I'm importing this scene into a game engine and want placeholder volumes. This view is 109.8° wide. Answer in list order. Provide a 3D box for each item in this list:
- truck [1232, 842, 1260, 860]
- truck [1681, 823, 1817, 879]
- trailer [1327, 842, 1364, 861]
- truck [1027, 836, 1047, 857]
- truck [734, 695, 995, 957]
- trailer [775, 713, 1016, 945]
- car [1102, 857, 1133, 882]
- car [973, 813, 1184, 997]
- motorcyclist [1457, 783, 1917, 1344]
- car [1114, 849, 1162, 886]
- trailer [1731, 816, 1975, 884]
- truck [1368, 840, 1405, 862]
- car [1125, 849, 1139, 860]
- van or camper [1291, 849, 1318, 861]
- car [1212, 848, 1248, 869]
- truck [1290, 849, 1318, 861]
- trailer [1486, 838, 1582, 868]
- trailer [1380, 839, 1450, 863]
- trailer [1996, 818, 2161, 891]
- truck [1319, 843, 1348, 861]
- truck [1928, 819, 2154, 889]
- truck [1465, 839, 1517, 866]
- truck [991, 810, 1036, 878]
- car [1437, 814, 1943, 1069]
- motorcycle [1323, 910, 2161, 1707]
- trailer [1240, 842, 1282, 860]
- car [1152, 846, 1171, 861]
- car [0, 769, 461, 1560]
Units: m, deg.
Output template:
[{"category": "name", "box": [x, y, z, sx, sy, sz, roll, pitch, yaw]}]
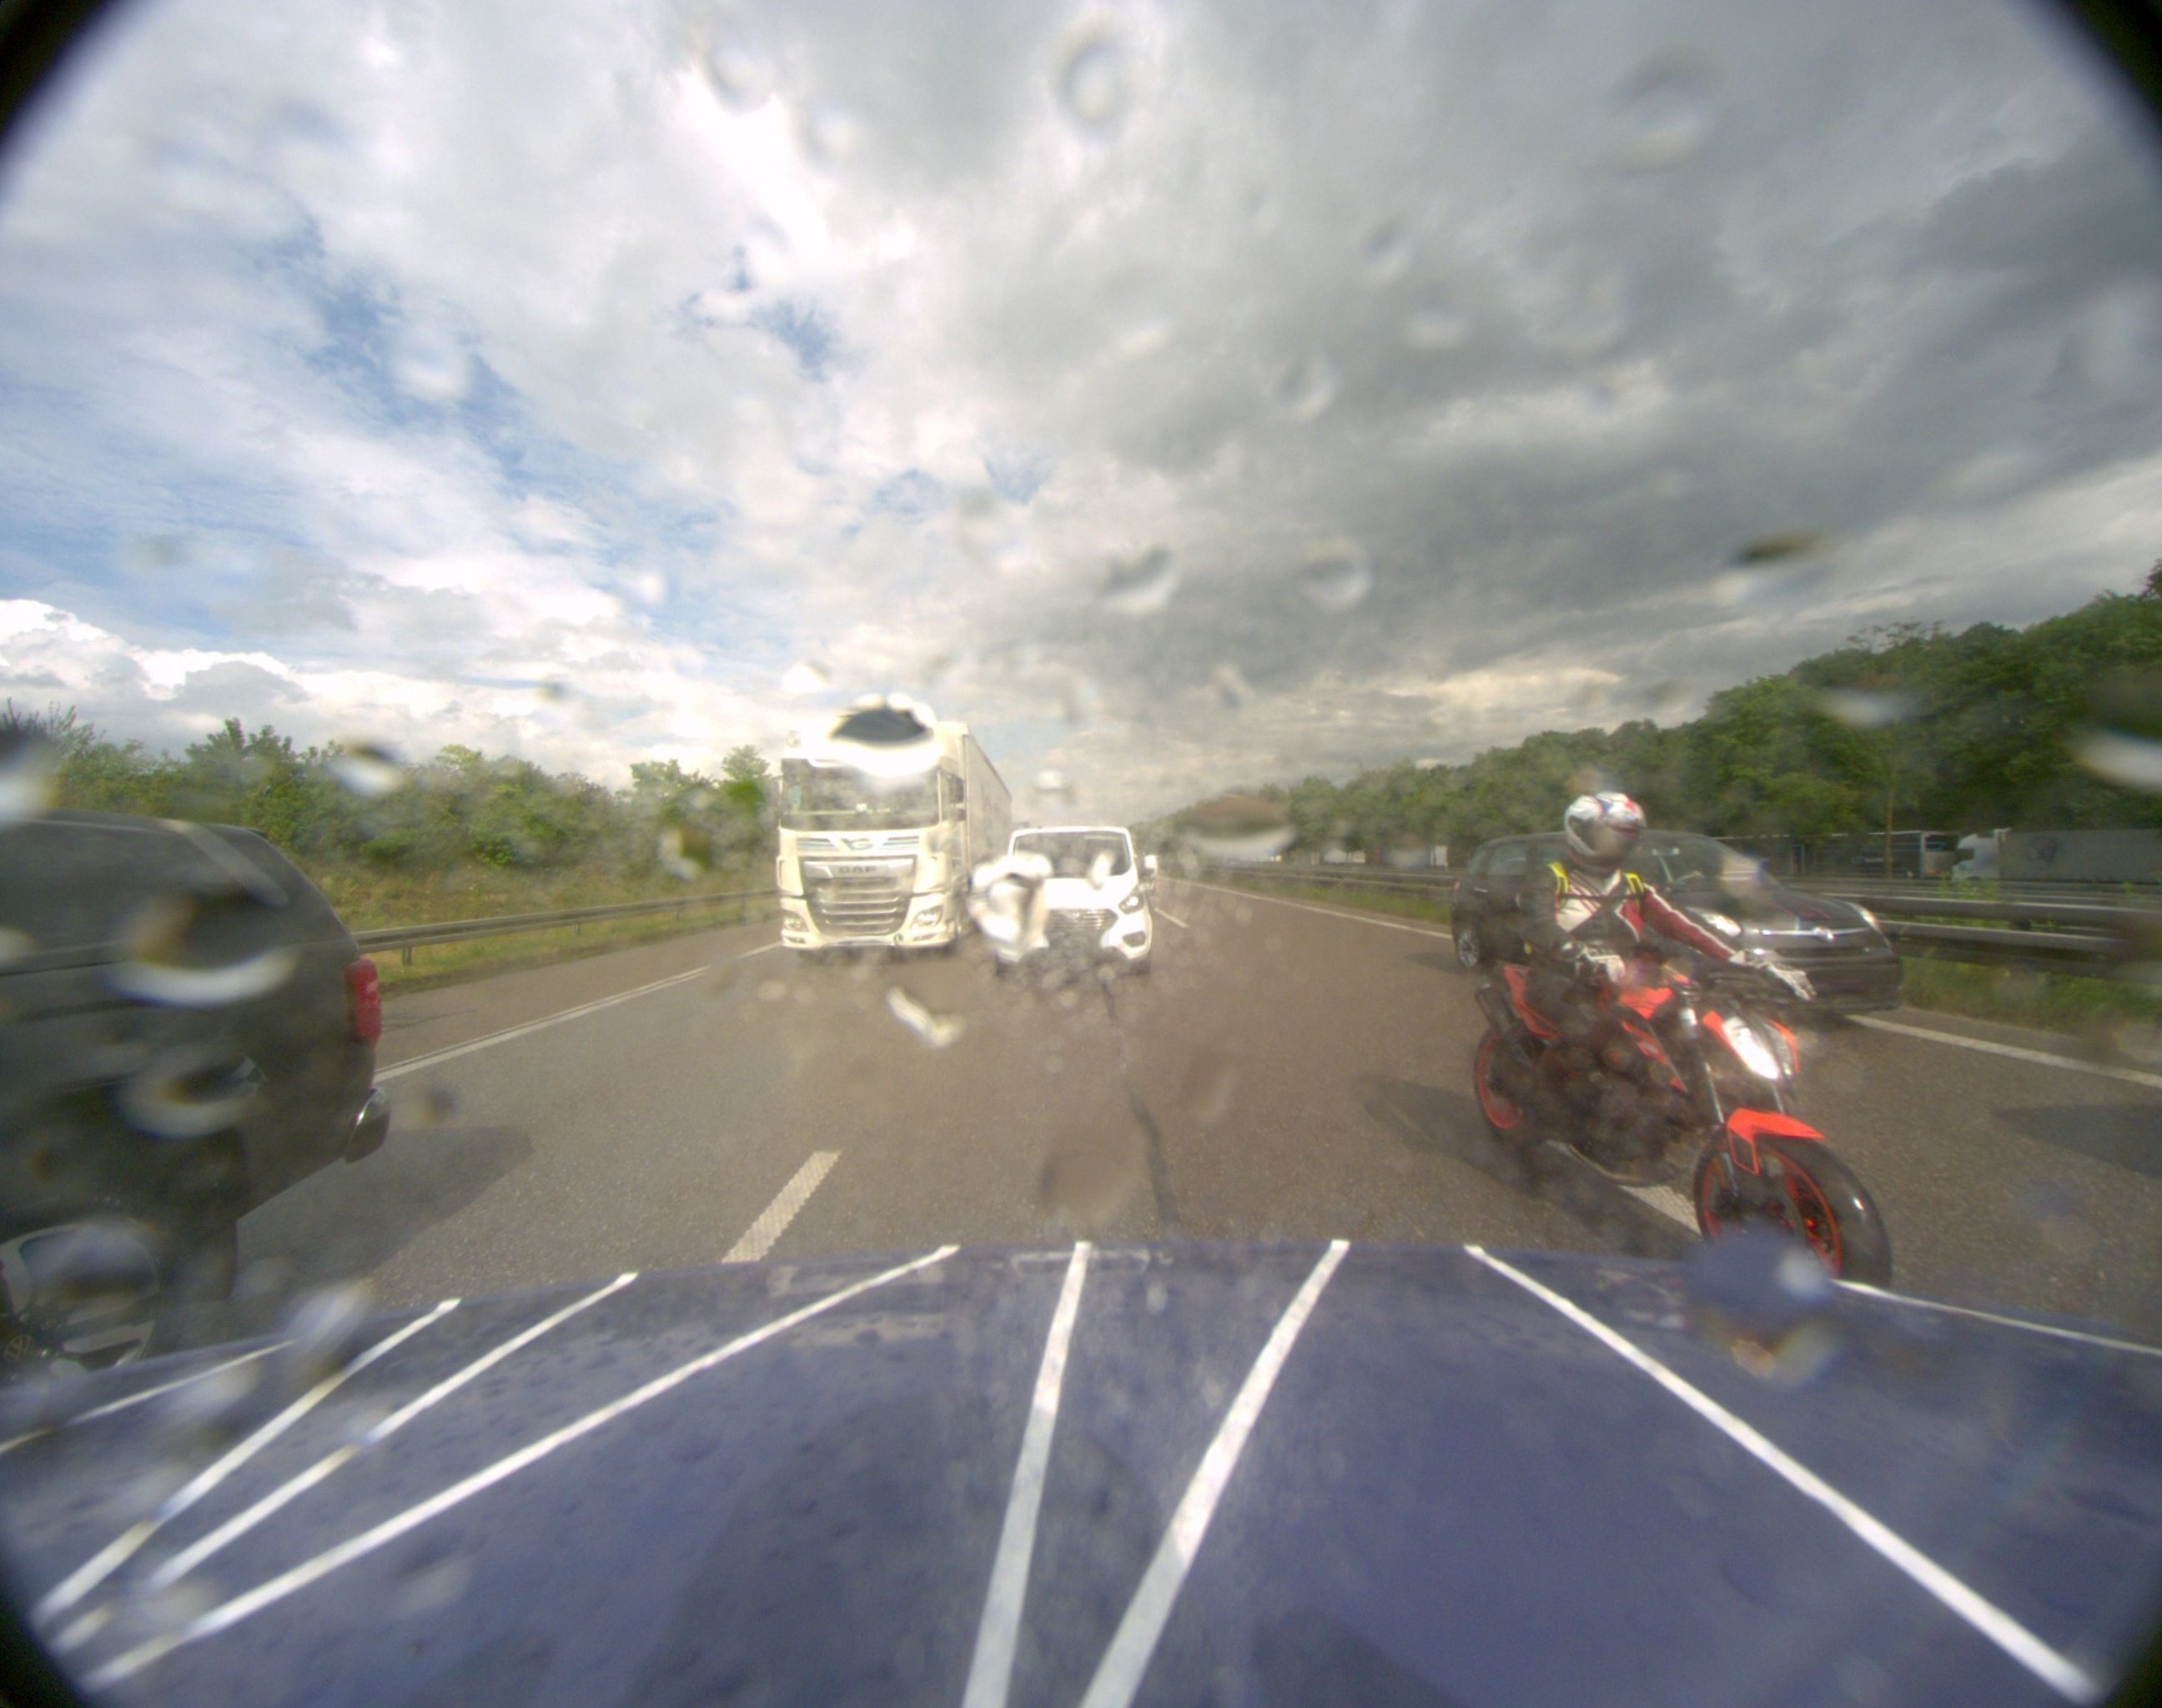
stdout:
[{"category": "truck", "box": [37.088, -0.676, 171.340, 3.219, 3.683, 6.907, -2, 1, -16]}, {"category": "truck", "box": [55.514, -0.270, 63.548, 3.798, 4.209, 8.415, -2, 1, -1]}, {"category": "trailer", "box": [46.741, -0.369, 134.445, 2.588, 3.214, 7.733, -1, 0, -11]}, {"category": "truck", "box": [-8.161, -1.405, 141.758, 3.218, 3.607, 10.151, -2, 1, -2]}, {"category": "truck", "box": [-3.643, -0.443, 14.786, 3.293, 3.868, 6.394, -2, 0, -2]}, {"category": "trailer", "box": [-3.795, -0.445, 20.183, 3.293, 3.876, 14.124, -2, 0, -2]}, {"category": "car", "box": [3.293, 1.374, 68.864, 2.350, 2.033, 5.141, -2, 1, -2]}, {"category": "car", "box": [-0.100, 0.558, 11.314, 2.350, 2.033, 5.141, -2, 1, -2]}, {"category": "motorcyclist", "box": [2.138, 0.640, 2.852, 0.883, 1.696, 1.000, -2, 1, -4]}, {"category": "car", "box": [3.448, 0.761, 46.890, 2.350, 2.033, 5.141, -2, 1, -2]}, {"category": "trailer", "box": [55.654, -0.264, 55.855, 3.798, 4.380, 13.799, -1, 0, 0]}, {"category": "truck", "box": [49.082, -0.482, 122.342, 2.870, 3.436, 5.892, -2, 1, -9]}, {"category": "car", "box": [9.732, 0.087, 146.108, 2.057, 2.034, 5.208, -2, 1, -2]}, {"category": "van or camper", "box": [43.778, 0.158, 148.842, 2.126, 2.252, 6.315, -2, 0, -15]}, {"category": "car", "box": [13.380, 0.398, 68.484, 2.057, 1.765, 5.208, -2, 1, -2]}, {"category": "truck", "box": [43.700, 0.104, 149.039, 2.126, 2.252, 6.310, -2, 0, -15]}, {"category": "trailer", "box": [53.382, -0.123, 90.160, 3.357, 3.197, 12.469, -1, 0, -4]}, {"category": "trailer", "box": [50.193, -0.370, 114.855, 2.832, 3.385, 13.415, -1, 0, -9]}, {"category": "trailer", "box": [55.239, 0.012, 37.601, 3.798, 3.627, 13.343, -1, 0, 0]}, {"category": "truck", "box": [45.901, -0.365, 138.159, 2.663, 3.249, 5.081, -2, 1, -12]}, {"category": "truck", "box": [55.191, -0.036, 44.100, 3.798, 3.569, 7.353, -2, 1, -1]}, {"category": "truck", "box": [52.848, -0.193, 97.998, 3.362, 3.254, 5.504, -2, 1, -5]}, {"category": "truck", "box": [-4.539, -0.655, 51.573, 2.651, 4.250, 6.881, -2, 1, -5]}, {"category": "car", "box": [5.377, 0.615, 7.511, 1.697, 1.794, 3.974, -2, 1, -2]}, {"category": "motorcycle", "box": [2.154, 0.975, 2.900, 1.188, 1.219, 3.193, -2, 1, -5]}, {"category": "trailer", "box": [38.894, -0.659, 165.012, 3.216, 3.717, 12.552, -1, 0, -15]}, {"category": "car", "box": [11.753, -0.129, 111.284, 2.057, 2.034, 5.208, -2, 1, -2]}, {"category": "car", "box": [-3.561, 0.792, 0.361, 1.947, 1.908, 5.650, -2, 1, -2]}]
